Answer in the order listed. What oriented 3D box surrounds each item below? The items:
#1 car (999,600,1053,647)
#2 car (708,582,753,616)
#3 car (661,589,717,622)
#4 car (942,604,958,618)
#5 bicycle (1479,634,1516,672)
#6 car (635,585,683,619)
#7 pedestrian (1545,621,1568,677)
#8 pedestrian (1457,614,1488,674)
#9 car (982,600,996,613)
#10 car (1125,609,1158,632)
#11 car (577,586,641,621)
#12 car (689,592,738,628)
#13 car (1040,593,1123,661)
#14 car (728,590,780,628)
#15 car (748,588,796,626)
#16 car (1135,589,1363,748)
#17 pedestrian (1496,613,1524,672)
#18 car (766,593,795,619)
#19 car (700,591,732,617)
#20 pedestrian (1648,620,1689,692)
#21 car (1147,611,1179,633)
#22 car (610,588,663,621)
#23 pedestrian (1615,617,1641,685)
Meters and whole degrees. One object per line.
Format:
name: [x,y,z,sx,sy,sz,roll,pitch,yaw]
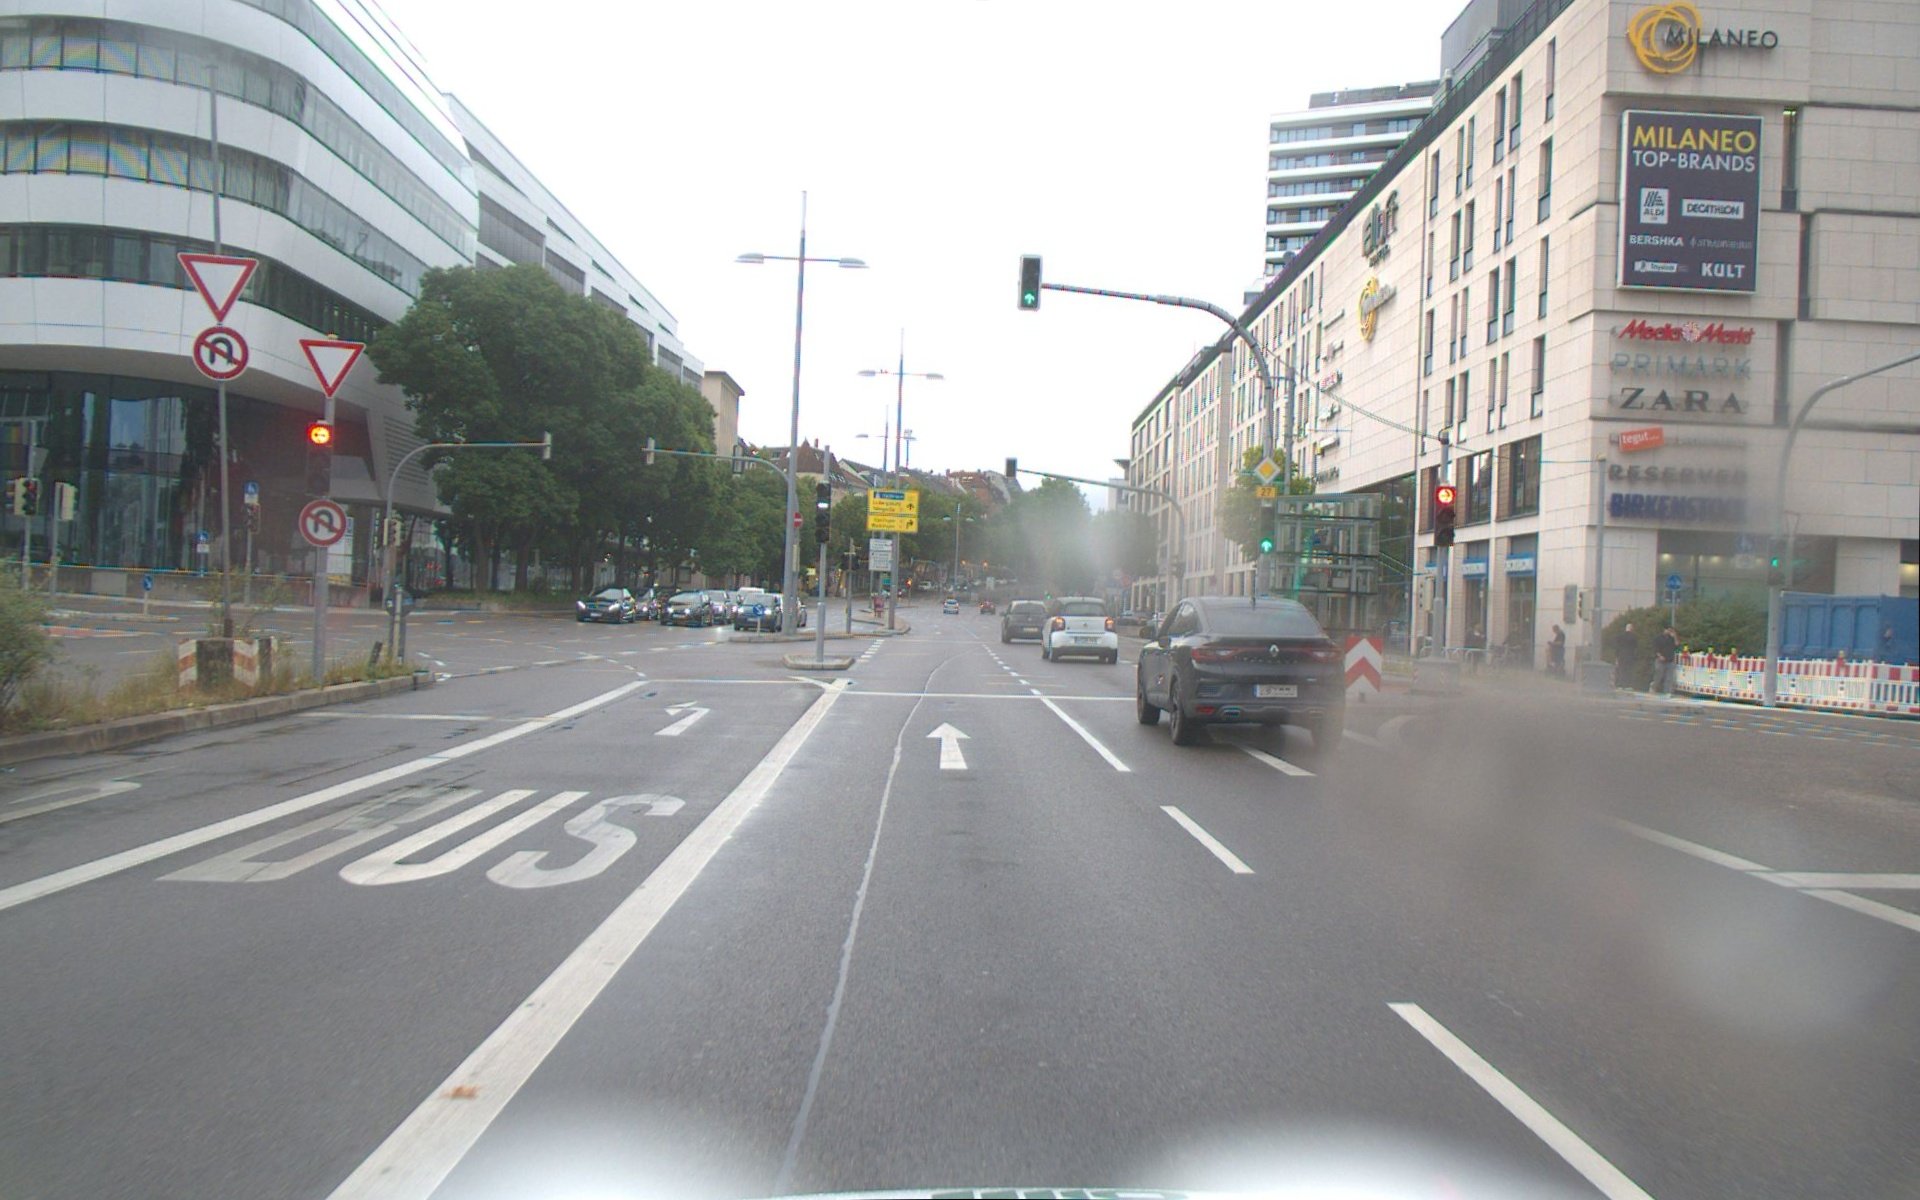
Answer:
car: [2.273,0.804,57.827,1.704,1.558,3.813,1,-1,0]
car: [-11.211,-0.048,80.880,1.707,1.586,3.539,1,-1,-1]
car: [-11.299,0.214,69.135,1.708,1.279,3.539,2,1,-1]
car: [-1.141,1.231,194.372,1.705,1.558,3.812,1,0,-3]
bicycle: [15.179,1.486,46.757,0.440,1.033,1.742,1,-1,-1]
car: [-14.802,0.105,81.596,1.707,1.586,3.539,1,-1,-1]
pedestrian: [17.960,1.475,49.769,0.582,1.671,0.587,1,-1,24]
pedestrian: [14.346,1.220,46.292,0.600,1.639,0.818,1,-1,-1]
car: [3.607,0.800,207.205,1.704,1.558,3.813,1,-1,0]
car: [11.664,1.326,106.293,1.627,1.425,3.832,1,-1,0]
car: [-14.258,0.152,67.455,1.707,1.352,4.225,1,-1,0]
car: [-11.302,0.485,76.060,1.707,1.586,3.539,1,-1,-1]
car: [2.944,0.645,40.713,1.689,1.558,3.813,1,-1,0]
car: [-8.425,0.385,67.982,1.707,1.470,3.394,1,-1,-1]
car: [-8.355,0.324,73.766,1.668,1.586,4.244,1,-1,0]
car: [3.136,0.674,18.776,1.754,1.533,4.338,1,1,-1]
pedestrian: [15.534,1.195,46.701,0.539,1.639,0.698,1,-1,-1]
car: [-12.697,0.412,117.102,1.707,1.779,3.539,1,-1,-1]
car: [-17.112,0.278,115.987,1.707,1.779,3.539,1,-1,-1]
pedestrian: [17.244,1.355,40.268,0.608,1.701,0.824,1,-1,-1]
car: [12.359,1.356,100.616,1.475,1.288,3.501,1,-1,0]
car: [-14.819,0.202,75.955,1.707,1.448,3.539,1,-1,-1]
pedestrian: [17.845,1.354,44.198,0.582,1.811,0.440,1,-1,27]
